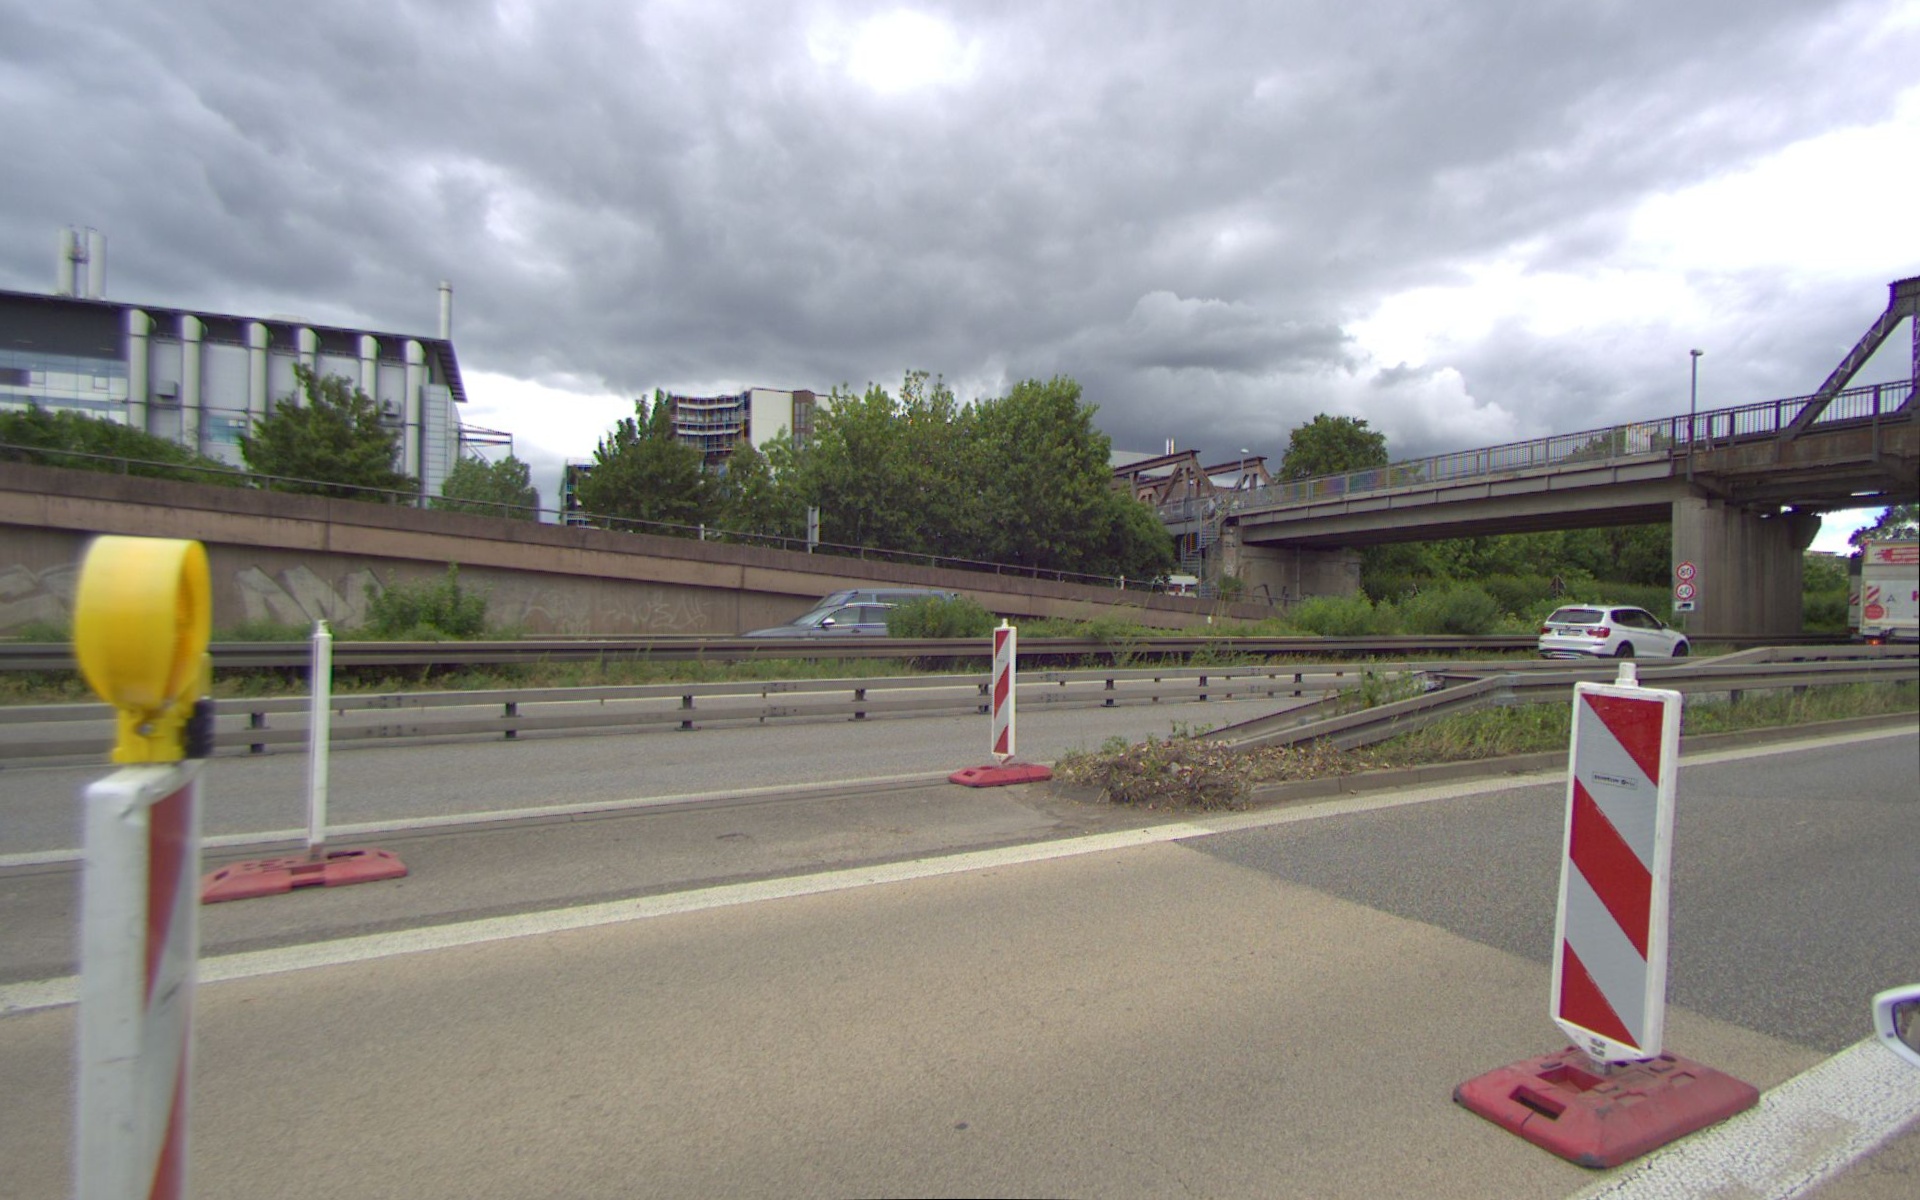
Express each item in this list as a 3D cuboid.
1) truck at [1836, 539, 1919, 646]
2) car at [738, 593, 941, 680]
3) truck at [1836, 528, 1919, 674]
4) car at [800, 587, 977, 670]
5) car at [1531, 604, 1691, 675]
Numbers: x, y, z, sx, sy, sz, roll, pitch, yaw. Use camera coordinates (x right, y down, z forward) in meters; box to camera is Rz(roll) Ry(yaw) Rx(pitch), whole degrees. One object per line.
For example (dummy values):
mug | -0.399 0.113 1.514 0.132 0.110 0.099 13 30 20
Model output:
truck | 35.141 -0.154 36.640 7.661 3.603 2.976 2 -2 -34
car | -2.603 0.720 21.794 3.953 1.729 1.984 0 0 -30
truck | 28.351 0.128 28.111 10.039 3.678 2.937 1 0 -32
car | -1.858 0.728 26.529 4.236 2.040 1.984 1 0 -30
car | 16.764 0.997 25.829 4.244 1.662 1.844 1 0 -32
